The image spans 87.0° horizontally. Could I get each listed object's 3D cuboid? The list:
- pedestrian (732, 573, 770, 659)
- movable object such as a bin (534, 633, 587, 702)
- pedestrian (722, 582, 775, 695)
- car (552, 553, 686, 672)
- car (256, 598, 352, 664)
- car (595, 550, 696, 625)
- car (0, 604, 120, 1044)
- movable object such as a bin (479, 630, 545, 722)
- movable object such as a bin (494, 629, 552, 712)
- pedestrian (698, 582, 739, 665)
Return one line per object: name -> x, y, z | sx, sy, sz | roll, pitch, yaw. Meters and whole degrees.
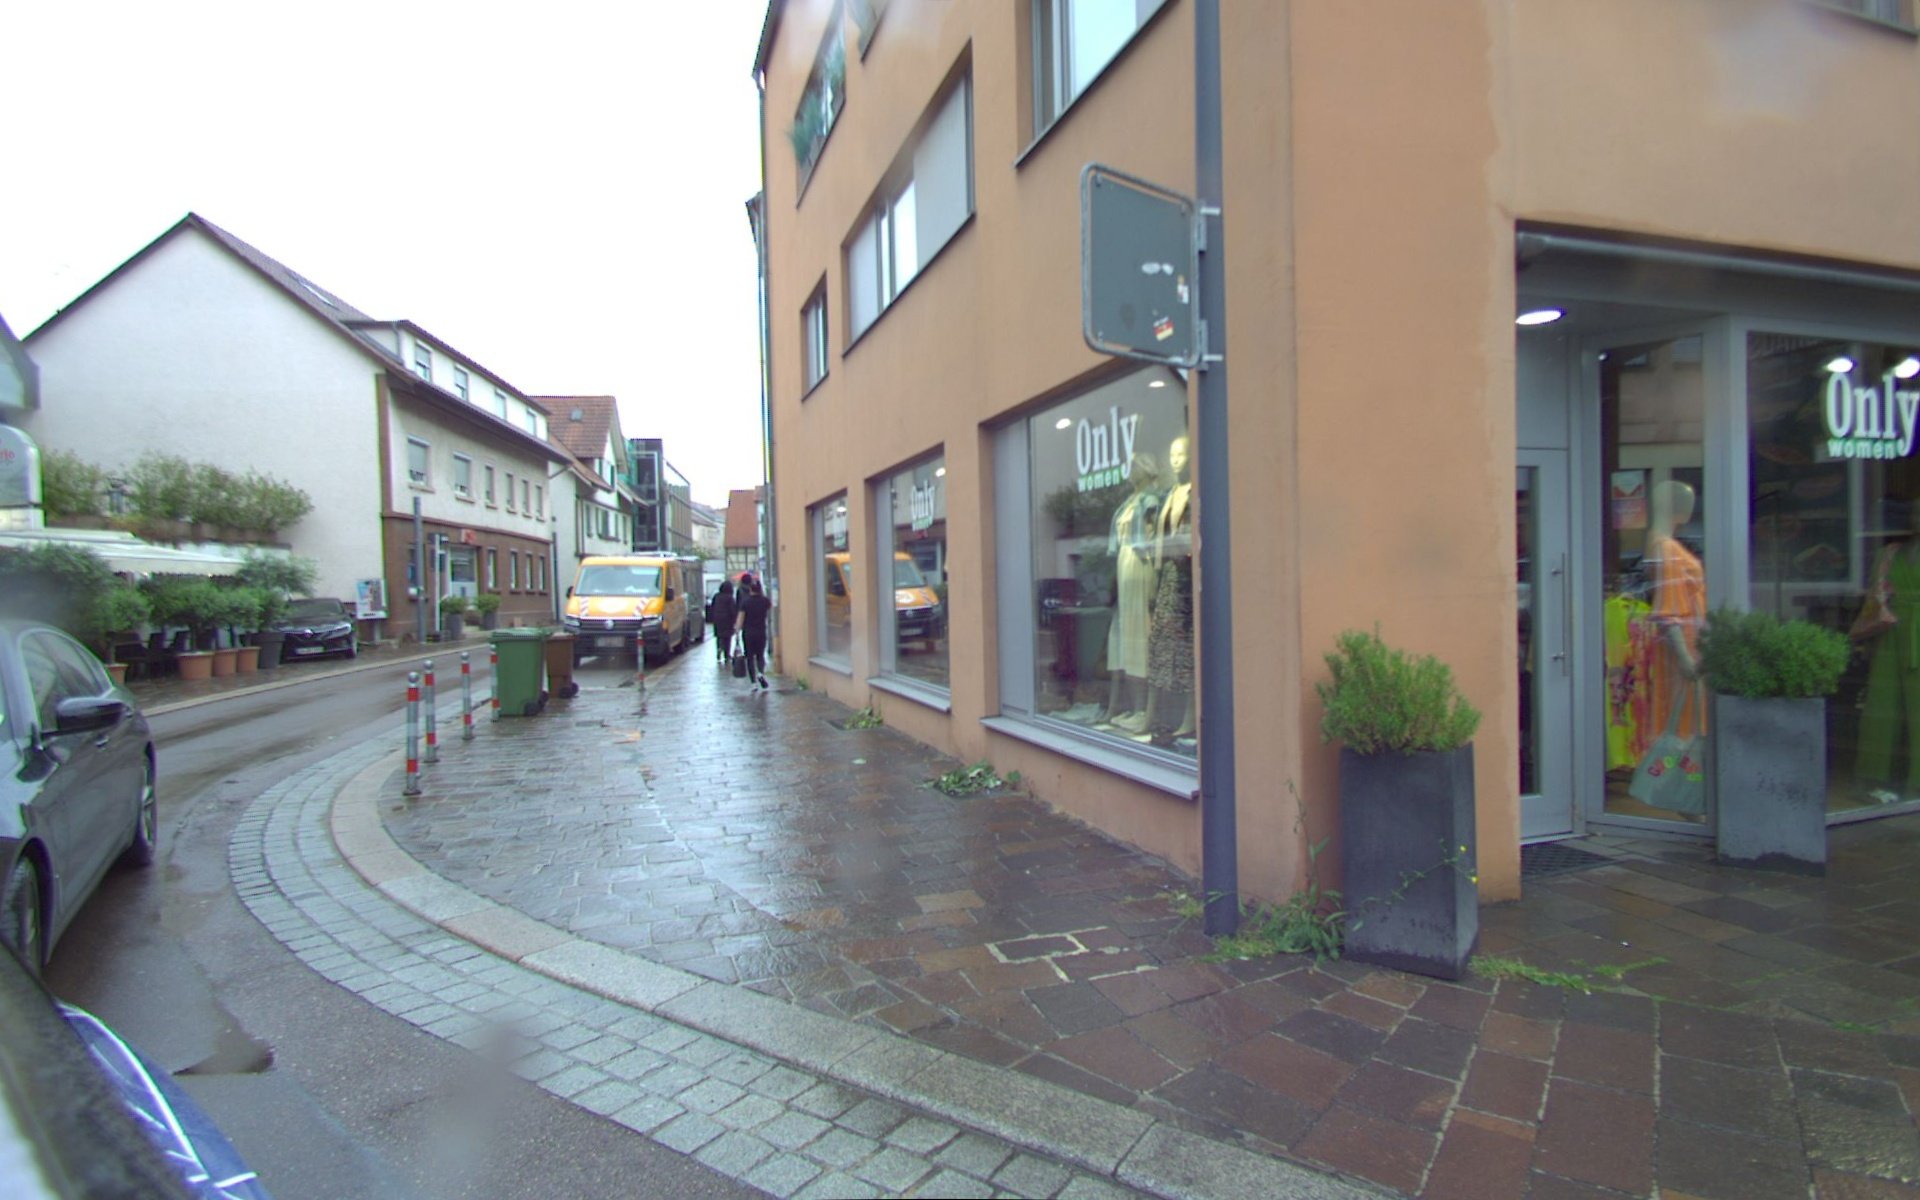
pedestrian -> -4.340, 0.324, 20.978 | 0.614, 1.725, 0.811 | -3, 1, -16
movable object such as a bin -> -5.824, 0.976, 14.762 | 0.574, 0.934, 0.482 | -4, 1, -8
pedestrian -> -3.136, 0.552, 14.962 | 0.650, 1.622, 0.686 | -2, 0, -19
car -> -7.362, 0.207, 22.458 | 1.967, 2.256, 5.874 | -1, 1, -10
car -> -15.202, 0.659, 23.599 | 1.709, 1.367, 3.948 | -1, 1, -31
car -> -13.678, -0.467, 44.696 | 2.669, 2.895, 8.858 | -2, 0, -7
car -> -5.064, 0.756, 4.480 | 1.918, 1.413, 4.426 | -2, 1, -41
movable object such as a bin -> -5.449, 0.909, 12.342 | 0.647, 1.044, 0.612 | -1, 1, -18
movable object such as a bin -> -5.858, 0.925, 13.587 | 0.647, 1.044, 0.612 | -1, 1, -18
pedestrian -> -4.980, 0.470, 20.820 | 0.705, 1.651, 0.748 | -3, 1, -16
